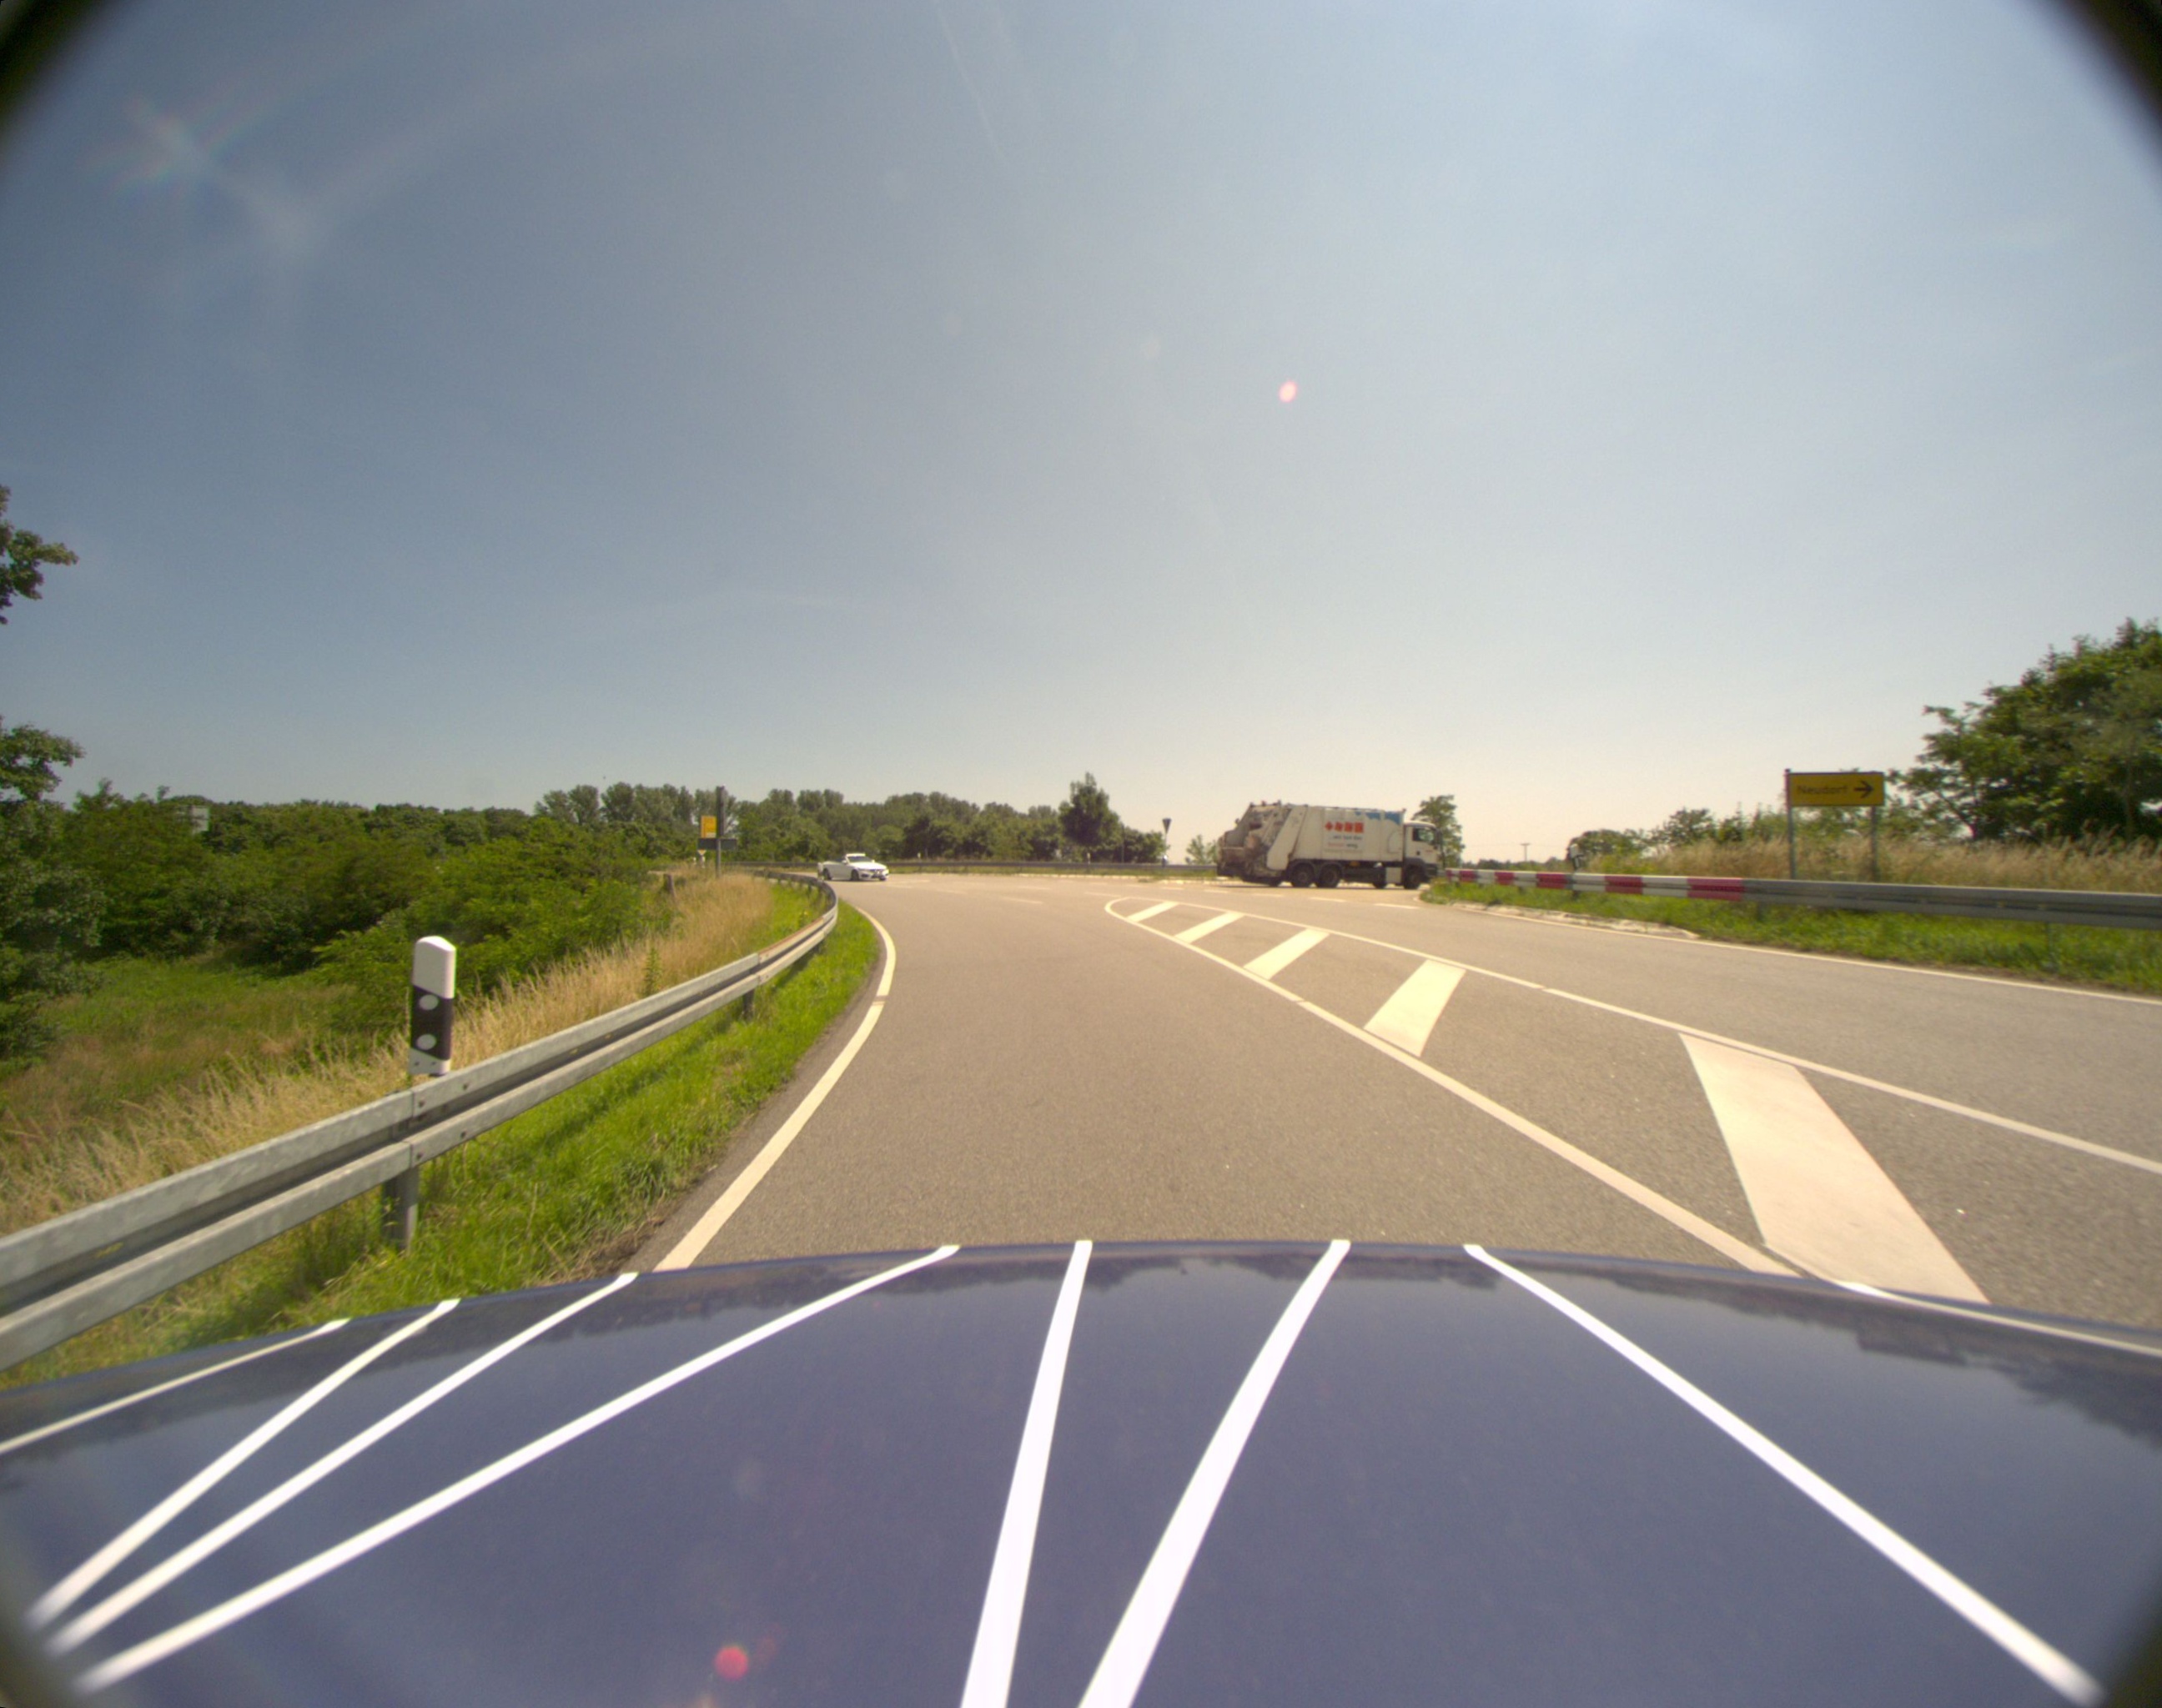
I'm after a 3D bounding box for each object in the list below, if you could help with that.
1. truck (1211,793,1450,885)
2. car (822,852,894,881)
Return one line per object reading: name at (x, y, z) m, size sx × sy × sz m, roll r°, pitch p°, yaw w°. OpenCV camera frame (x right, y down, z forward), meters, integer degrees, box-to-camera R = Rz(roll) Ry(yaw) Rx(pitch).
truck at (10.860, -0.551, 33.111) m, size 9.955 × 3.648 × 2.818 m, roll 1°, pitch 1°, yaw -16°
car at (-12.057, 0.670, 41.019) m, size 4.099 × 1.407 × 1.818 m, roll -1°, pitch 1°, yaw 42°
